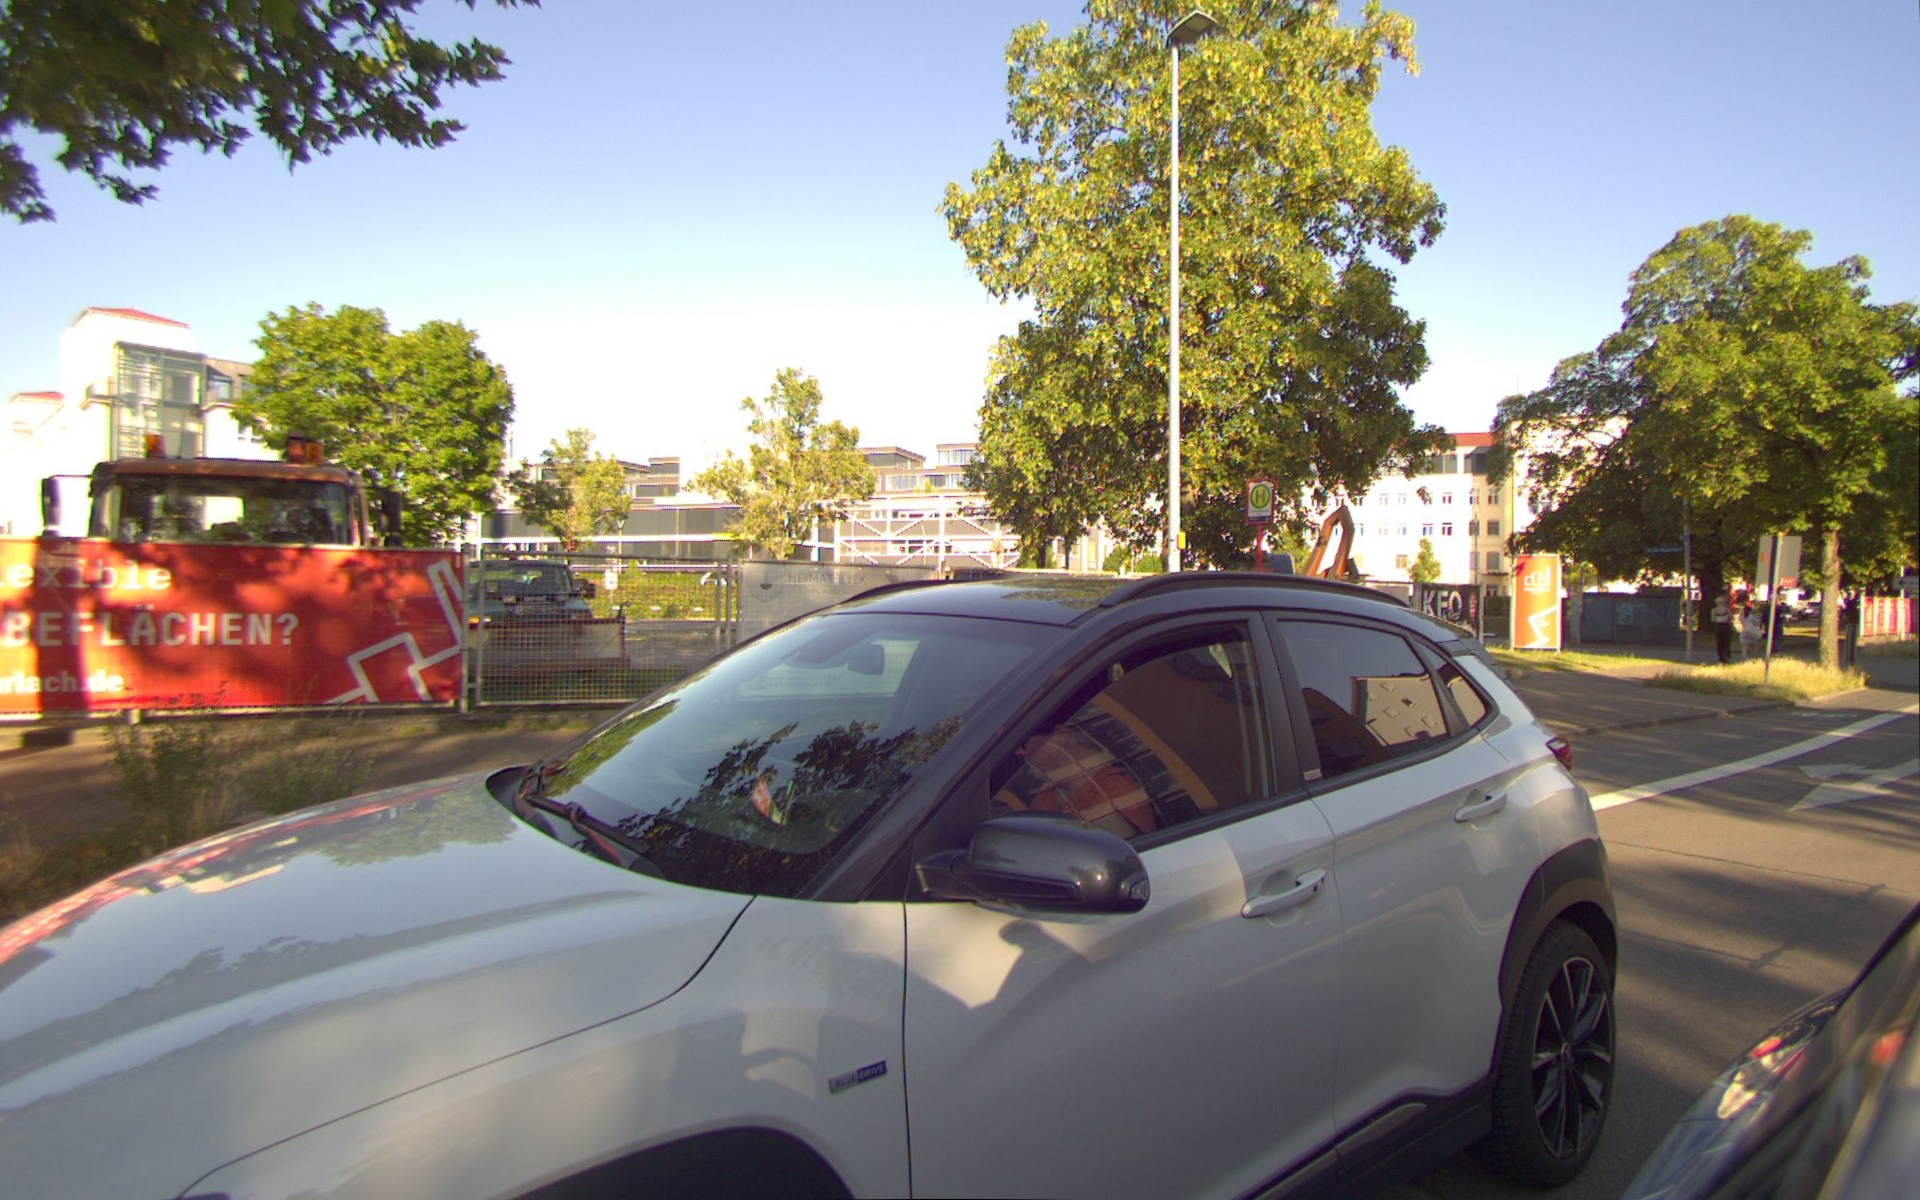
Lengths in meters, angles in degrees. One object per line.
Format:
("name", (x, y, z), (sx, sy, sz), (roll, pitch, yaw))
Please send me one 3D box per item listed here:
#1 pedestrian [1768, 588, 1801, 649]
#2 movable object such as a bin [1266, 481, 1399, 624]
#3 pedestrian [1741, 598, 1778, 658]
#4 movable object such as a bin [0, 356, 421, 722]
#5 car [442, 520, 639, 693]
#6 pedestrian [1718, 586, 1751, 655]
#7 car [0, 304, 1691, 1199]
("pedestrian", (23.069, 0.502, 28.322), (0.692, 1.689, 0.630), (0, 0, 38))
("movable object such as a bin", (15.526, -1.880, 42.766), (3.910, 5.547, 6.022), (0, 0, 6))
("pedestrian", (19.881, 0.686, 25.176), (0.627, 1.452, 0.609), (0, 0, -40))
("movable object such as a bin", (-8.389, -0.547, 12.059), (3.154, 3.087, 6.295), (0, 0, -31))
("car", (-5.665, 0.045, 13.298), (2.001, 1.851, 4.612), (0, 0, -28))
("pedestrian", (20.091, 0.516, 26.255), (0.607, 1.759, 0.629), (0, 0, 44))
("car", (0.014, 0.663, 2.433), (3.893, 1.618, 1.894), (3, -2, -39))
